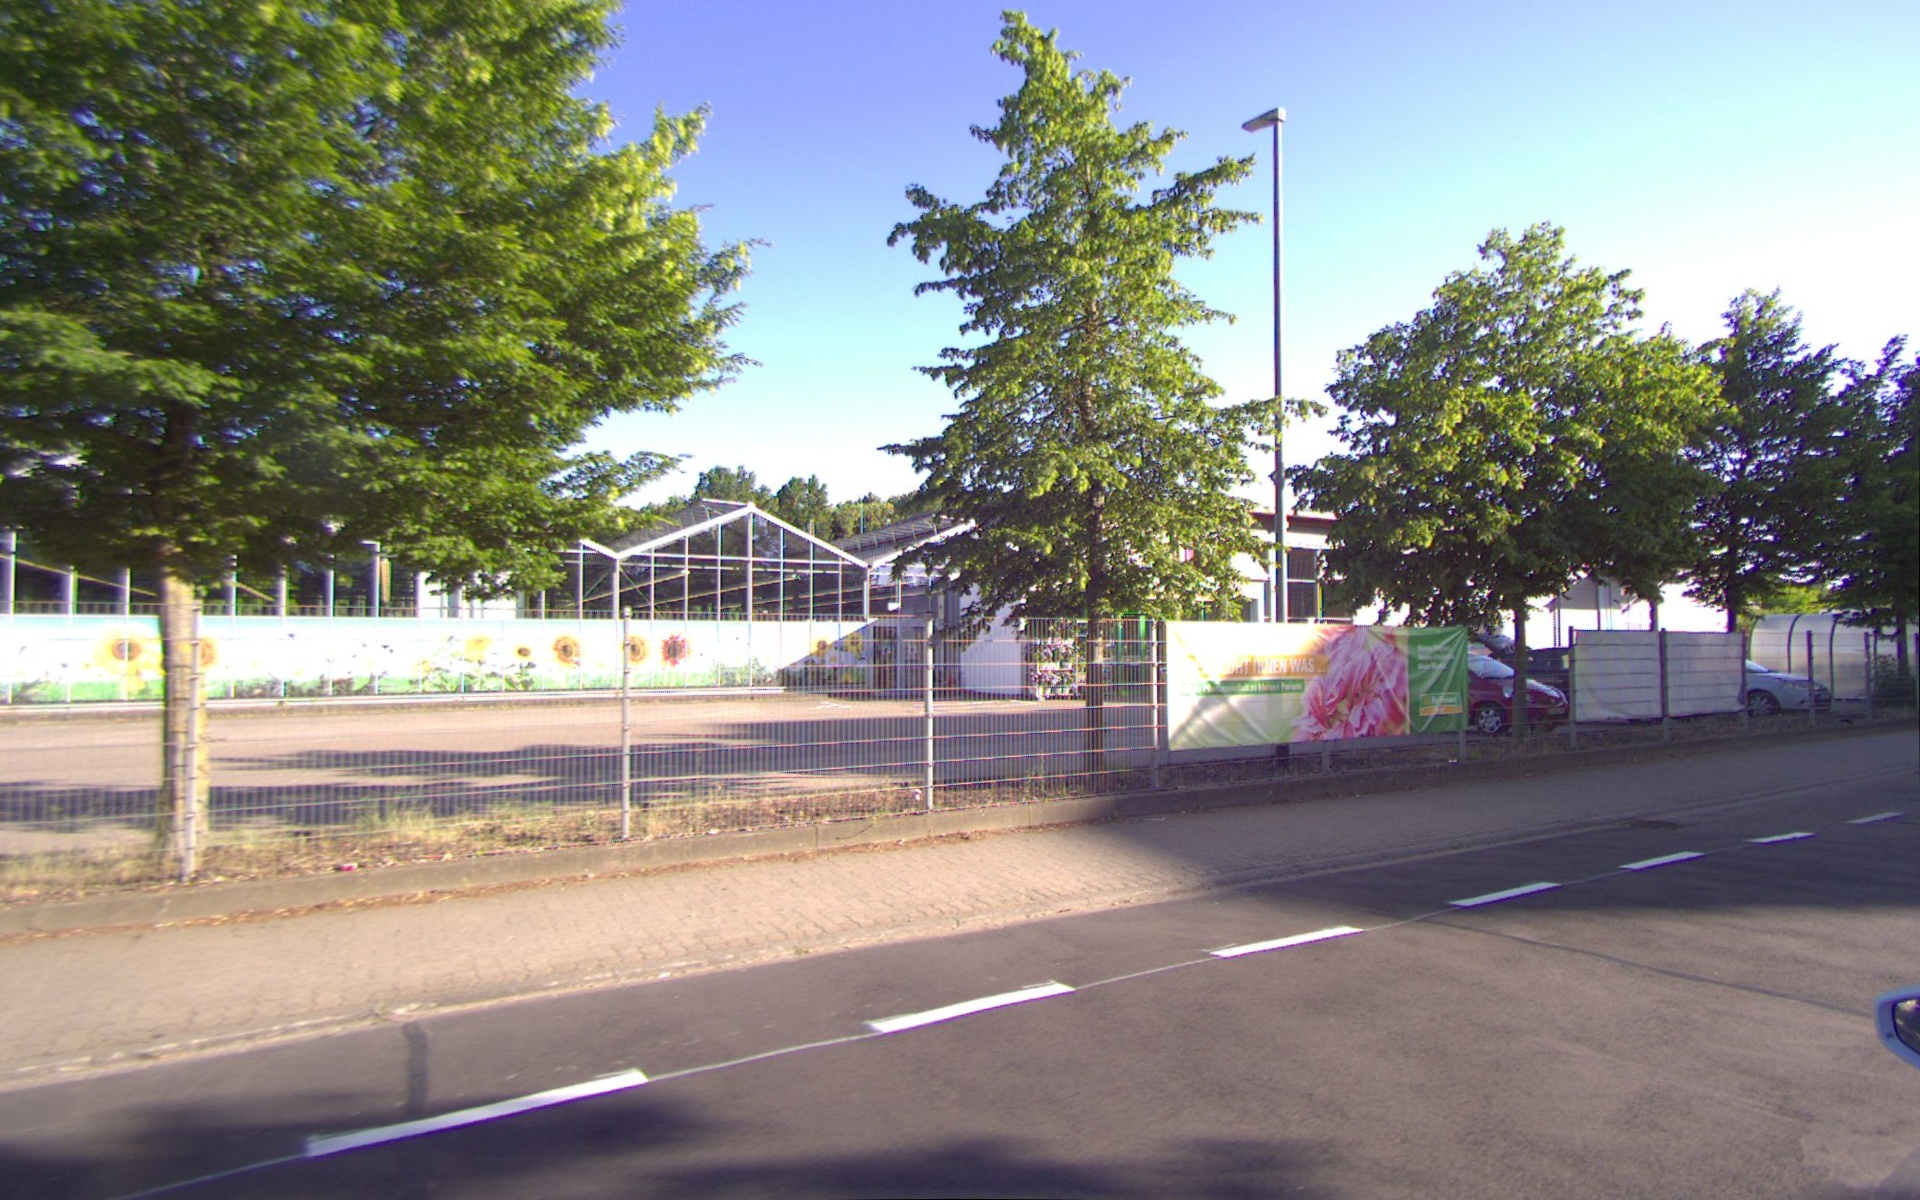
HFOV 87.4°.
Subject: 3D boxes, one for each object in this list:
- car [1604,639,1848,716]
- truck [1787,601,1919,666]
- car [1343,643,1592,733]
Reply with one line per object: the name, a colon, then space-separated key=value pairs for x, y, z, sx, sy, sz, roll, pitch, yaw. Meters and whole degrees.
car: x=16.858 y=1.740 z=22.303 sx=1.766 sy=1.530 sz=3.870 roll=1 pitch=-5 yaw=-32
truck: x=54.731 y=1.973 z=58.319 sx=2.744 sy=3.662 sz=10.050 roll=2 pitch=-2 yaw=-30
car: x=9.297 y=1.637 z=18.697 sx=1.785 sy=1.469 sz=3.709 roll=1 pitch=-5 yaw=-31
